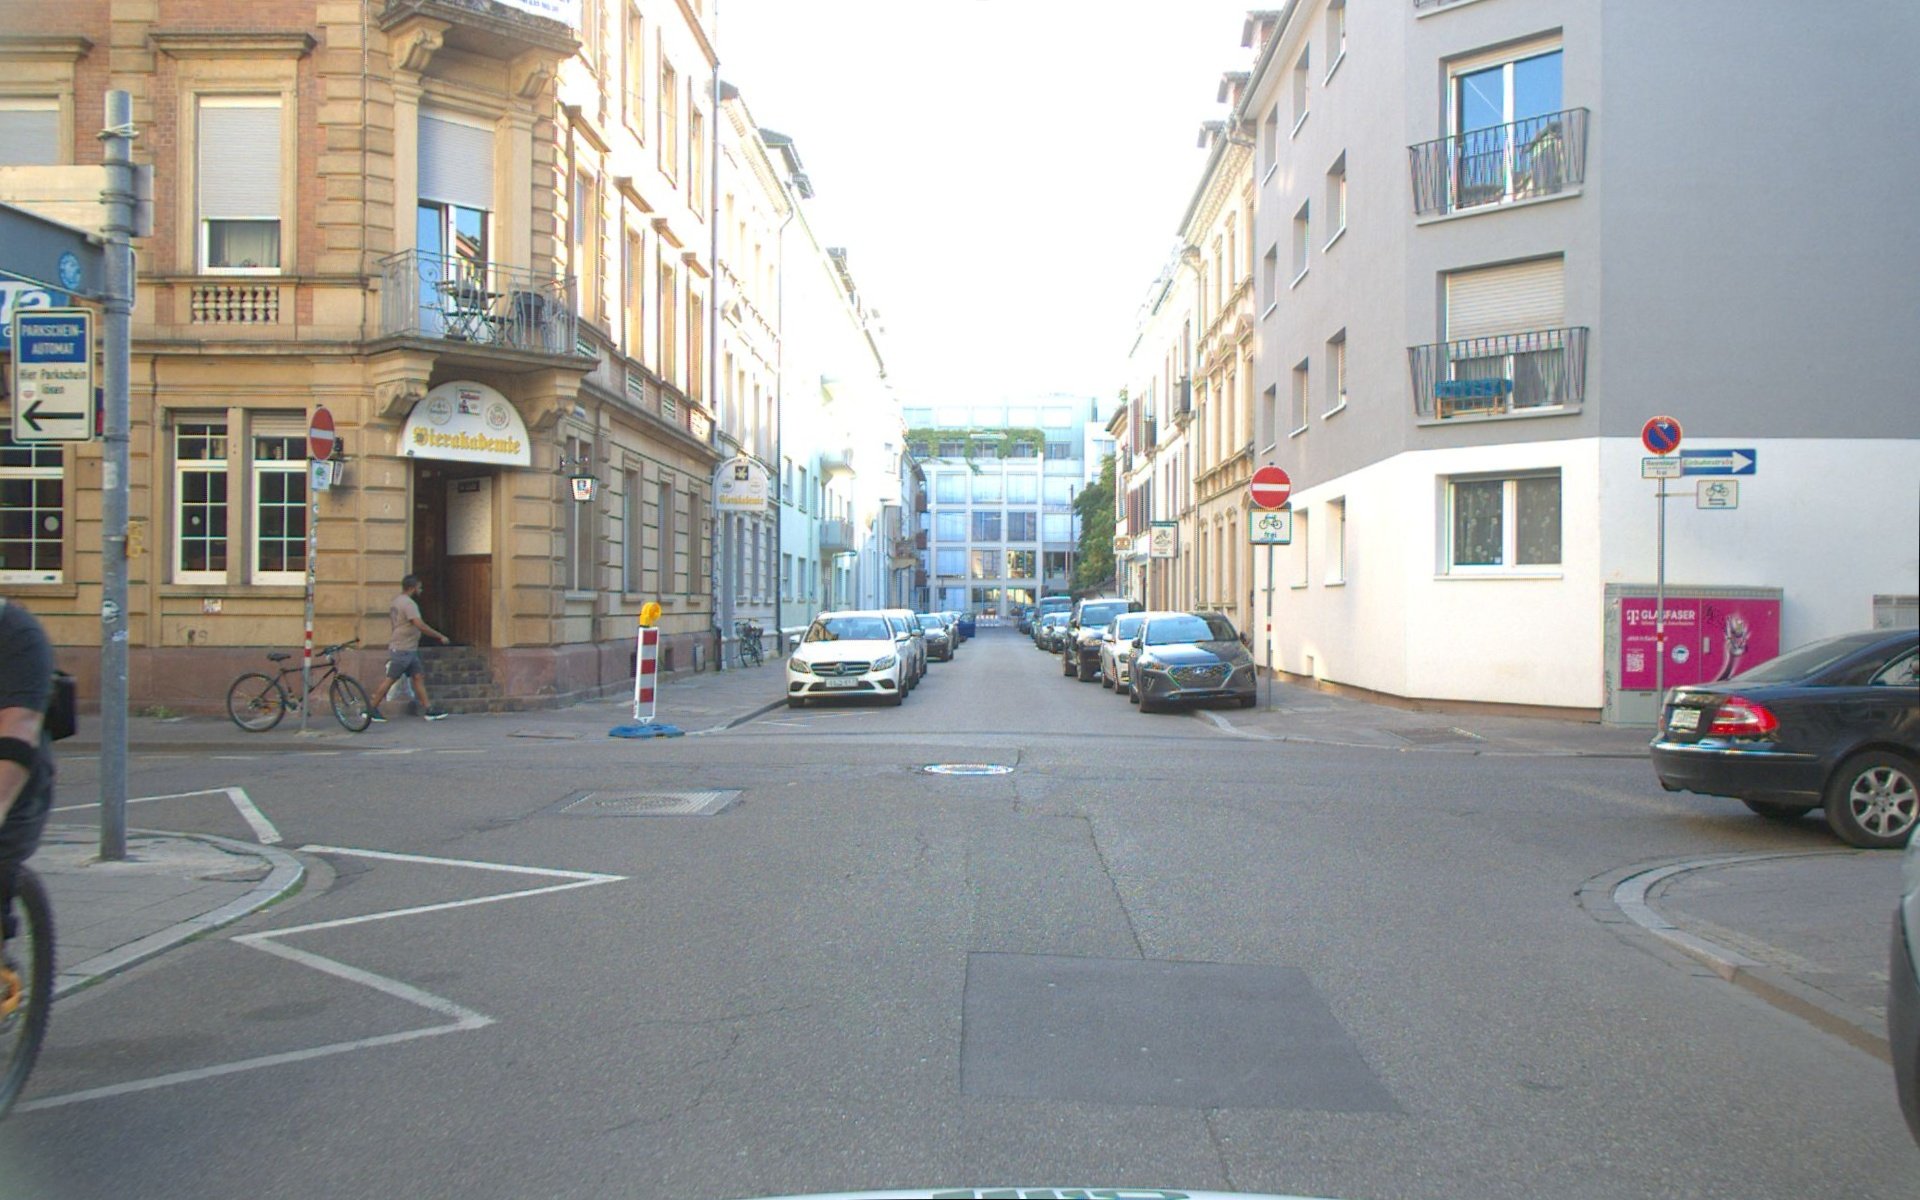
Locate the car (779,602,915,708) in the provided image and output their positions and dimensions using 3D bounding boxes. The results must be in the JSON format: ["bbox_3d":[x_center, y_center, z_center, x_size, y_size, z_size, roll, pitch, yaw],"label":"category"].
[{"bbox_3d":[-1.765,0.834,27.242,1.953,1.592,4.505,0,0,-1],"label":"car"}]

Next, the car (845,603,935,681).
[{"bbox_3d":[-1.571,0.933,38.424,1.748,1.688,3.817,1,0,3],"label":"car"}]

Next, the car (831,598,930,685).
[{"bbox_3d":[-1.522,0.783,32.683,1.591,1.604,3.755,1,0,3],"label":"car"}]

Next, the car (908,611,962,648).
[{"bbox_3d":[-1.025,1.174,67.712,2.129,1.443,3.999,1,0,-1],"label":"car"}]

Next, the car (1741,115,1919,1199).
[{"bbox_3d":[3.087,0.194,1.299,2.229,2.482,6.205,1,0,2],"label":"car"}]

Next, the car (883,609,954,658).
[{"bbox_3d":[-1.207,0.985,49.799,1.952,1.378,4.429,1,0,1],"label":"car"}]

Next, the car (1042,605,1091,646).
[{"bbox_3d":[4.683,1.107,73.144,1.952,1.730,4.000,1,0,1],"label":"car"}]

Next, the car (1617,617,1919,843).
[{"bbox_3d":[7.258,0.865,11.547,4.614,1.433,1.891,1,0,4],"label":"car"}]

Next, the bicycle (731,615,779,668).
[{"bbox_3d":[-4.751,0.945,38.483,0.722,1.181,2.461,1,0,1],"label":"bicycle"}]

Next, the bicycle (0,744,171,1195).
[{"bbox_3d":[-2.630,0.953,4.083,0.527,1.025,1.979,1,0,-4],"label":"bicycle"}]

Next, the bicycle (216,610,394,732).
[{"bbox_3d":[-7.344,0.789,18.594,1.722,1.297,0.661,1,3,-3],"label":"bicycle"}]

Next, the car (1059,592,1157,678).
[{"bbox_3d":[3.282,0.755,37.341,1.855,1.815,4.000,1,0,0],"label":"car"}]

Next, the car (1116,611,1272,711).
[{"bbox_3d":[3.563,0.895,25.840,1.898,1.396,3.788,-1,0,0],"label":"car"}]

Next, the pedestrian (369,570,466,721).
[{"bbox_3d":[-6.573,0.542,20.086,0.996,1.773,0.981,1,0,-13],"label":"pedestrian"}]

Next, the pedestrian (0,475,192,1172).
[{"bbox_3d":[-2.599,0.502,4.212,0.813,1.572,1.081,1,0,-4],"label":"pedestrian"}]

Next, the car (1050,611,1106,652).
[{"bbox_3d":[4.416,1.158,62.457,1.952,1.476,4.001,1,0,2],"label":"car"}]

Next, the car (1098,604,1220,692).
[{"bbox_3d":[3.767,0.875,31.910,1.923,1.584,3.889,1,0,1],"label":"car"}]
